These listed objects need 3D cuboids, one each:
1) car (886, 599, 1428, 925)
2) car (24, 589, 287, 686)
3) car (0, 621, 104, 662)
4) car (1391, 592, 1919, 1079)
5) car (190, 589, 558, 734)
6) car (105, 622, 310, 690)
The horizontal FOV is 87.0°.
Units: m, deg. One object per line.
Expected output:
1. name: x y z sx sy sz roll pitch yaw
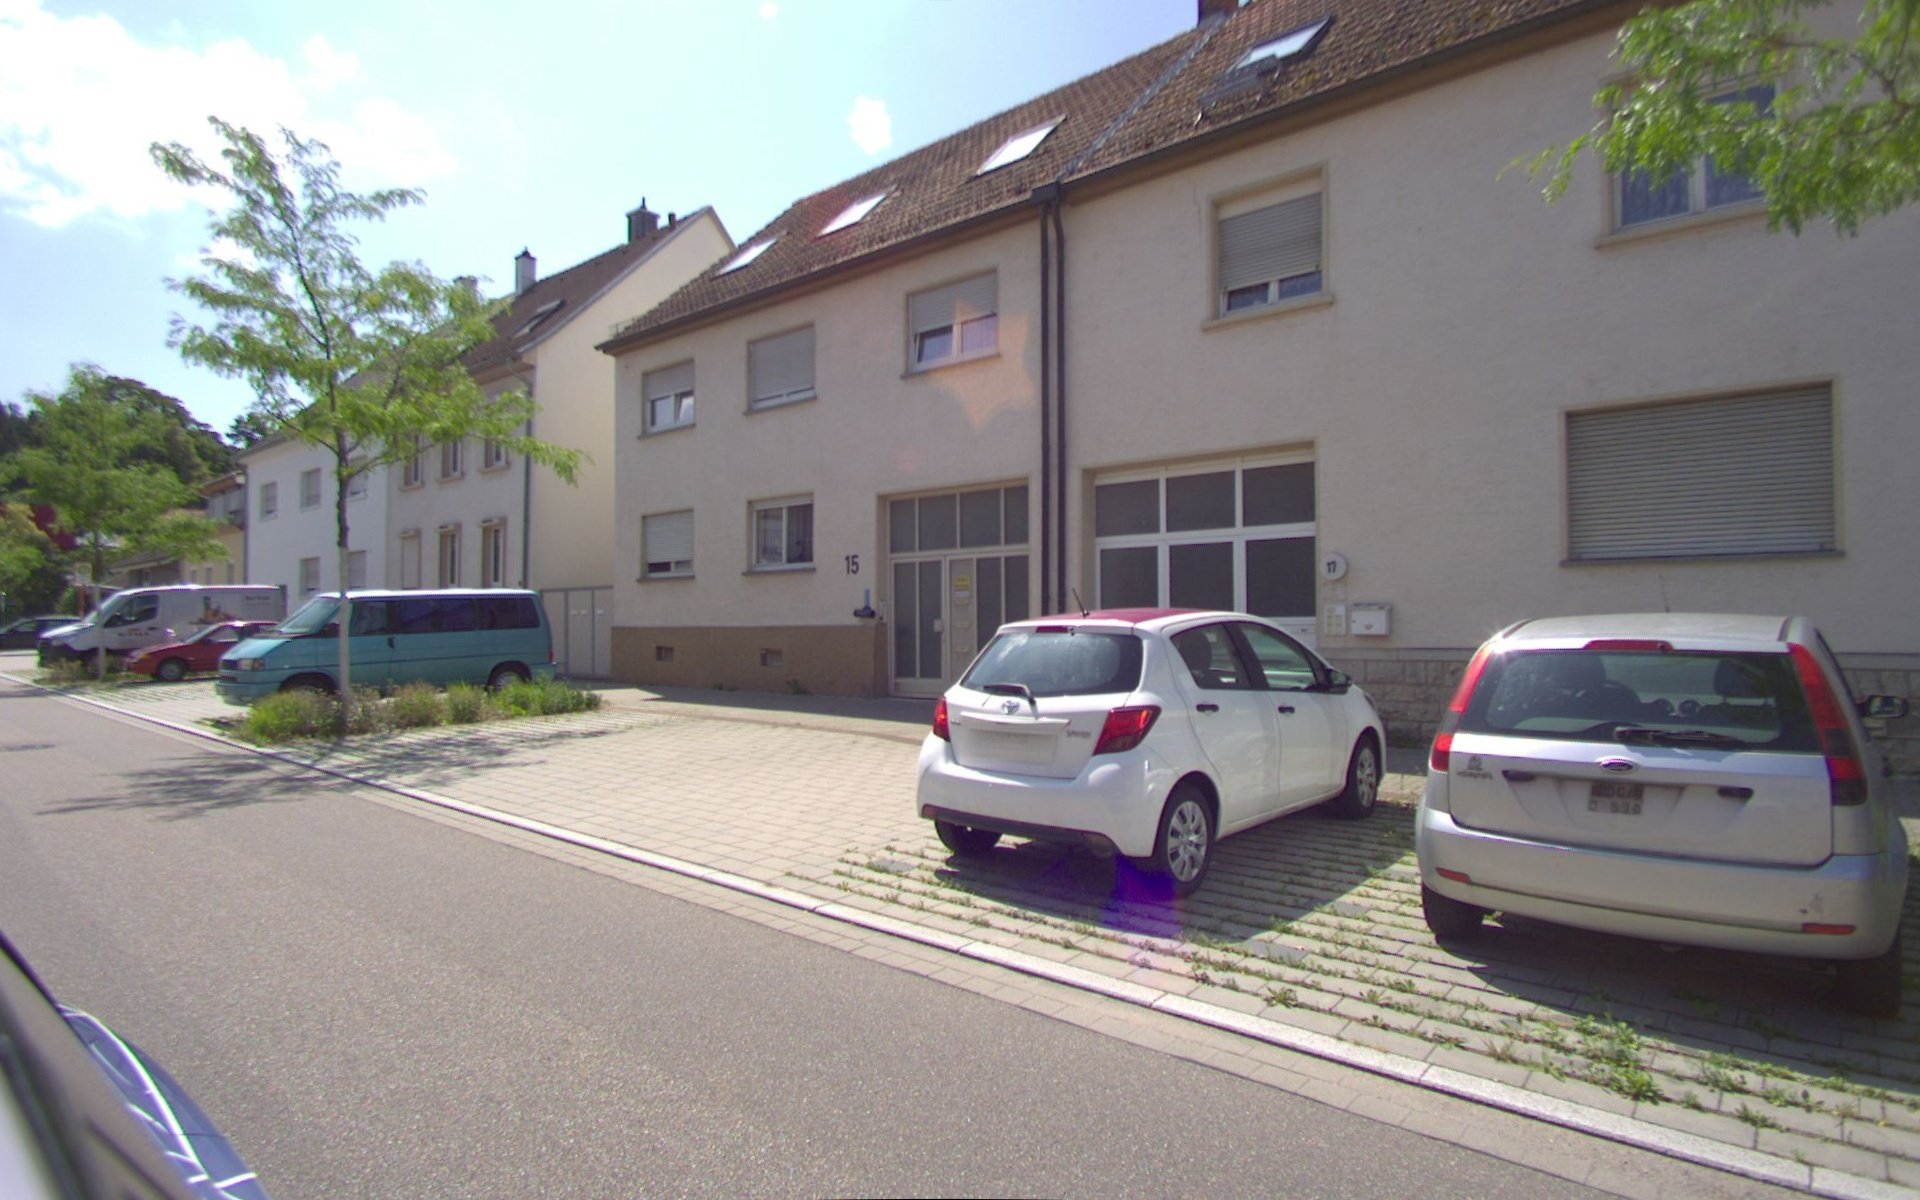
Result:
1. car: 1.530 0.764 6.730 1.772 1.500 3.874 -1 -1 42
2. car: -21.184 0.886 26.869 2.155 2.305 5.116 -1 0 39
3. car: -37.736 1.670 40.930 1.900 1.528 4.540 -1 -1 40
4. car: 3.752 0.731 5.022 1.772 1.500 3.874 -1 -1 42
5. car: -9.034 0.814 15.948 1.999 1.921 4.628 -1 0 41
6. car: -18.209 1.296 24.605 1.725 1.396 3.744 -1 0 41
